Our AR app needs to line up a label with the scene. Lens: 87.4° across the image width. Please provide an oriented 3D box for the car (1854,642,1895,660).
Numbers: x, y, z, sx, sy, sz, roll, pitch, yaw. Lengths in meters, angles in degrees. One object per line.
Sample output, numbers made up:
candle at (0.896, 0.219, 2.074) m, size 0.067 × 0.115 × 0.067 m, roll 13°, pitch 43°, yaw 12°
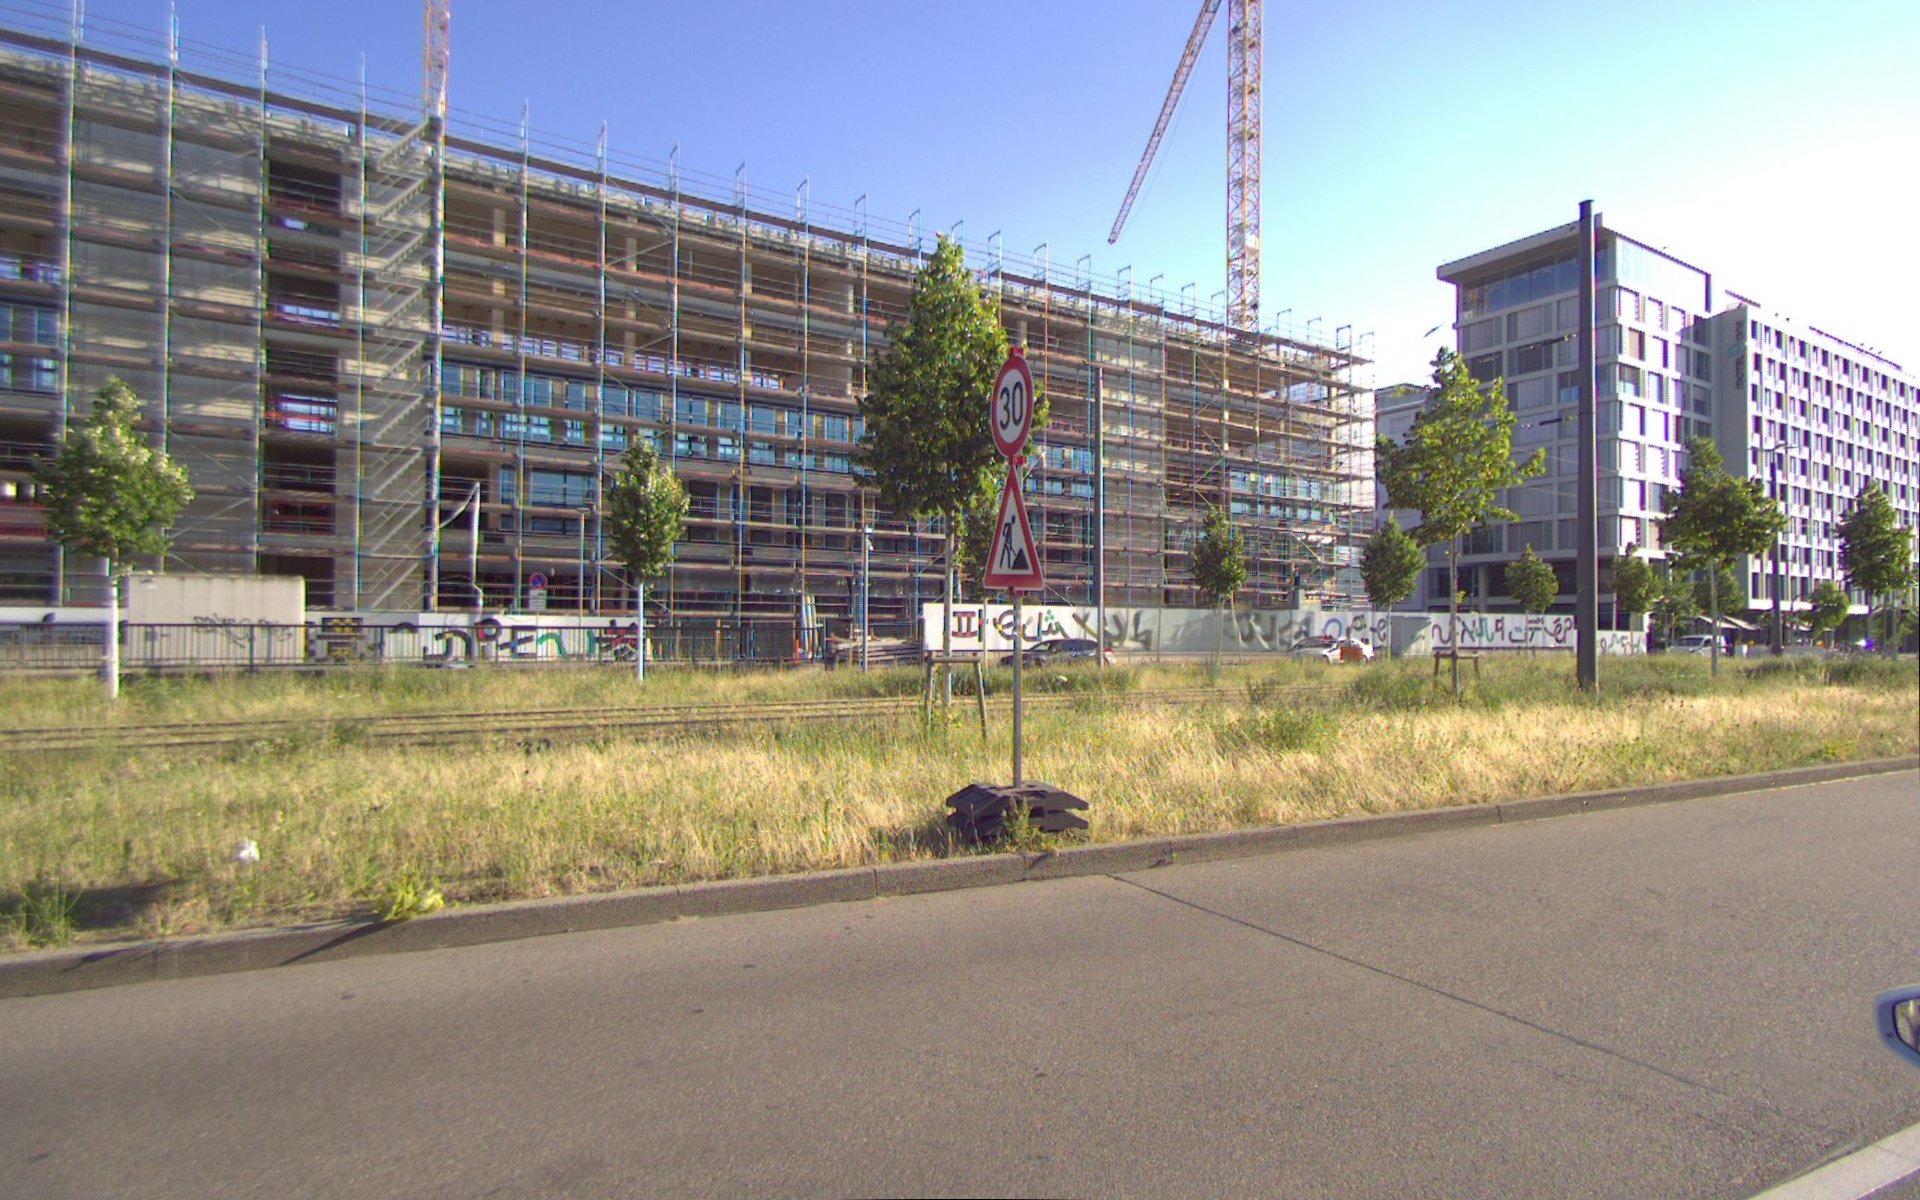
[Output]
car at (79.096, 4.370, 86.850) m, size 3.543 × 1.461 × 1.699 m, roll 2°, pitch -1°, yaw -32°

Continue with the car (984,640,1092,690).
car at (2.895, 2.351, 37.027) m, size 3.596 × 1.706 × 1.781 m, roll 2°, pitch -1°, yaw -31°

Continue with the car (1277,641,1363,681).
car at (16.229, 2.725, 45.286) m, size 3.596 × 1.706 × 1.781 m, roll 2°, pitch -1°, yaw -31°

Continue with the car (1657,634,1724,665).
car at (43.472, 2.949, 59.806) m, size 3.591 × 1.706 × 1.784 m, roll 2°, pitch -1°, yaw -27°

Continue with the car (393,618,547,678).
car at (-13.016, 1.249, 26.710) m, size 3.543 × 1.461 × 1.699 m, roll 2°, pitch -1°, yaw -32°
